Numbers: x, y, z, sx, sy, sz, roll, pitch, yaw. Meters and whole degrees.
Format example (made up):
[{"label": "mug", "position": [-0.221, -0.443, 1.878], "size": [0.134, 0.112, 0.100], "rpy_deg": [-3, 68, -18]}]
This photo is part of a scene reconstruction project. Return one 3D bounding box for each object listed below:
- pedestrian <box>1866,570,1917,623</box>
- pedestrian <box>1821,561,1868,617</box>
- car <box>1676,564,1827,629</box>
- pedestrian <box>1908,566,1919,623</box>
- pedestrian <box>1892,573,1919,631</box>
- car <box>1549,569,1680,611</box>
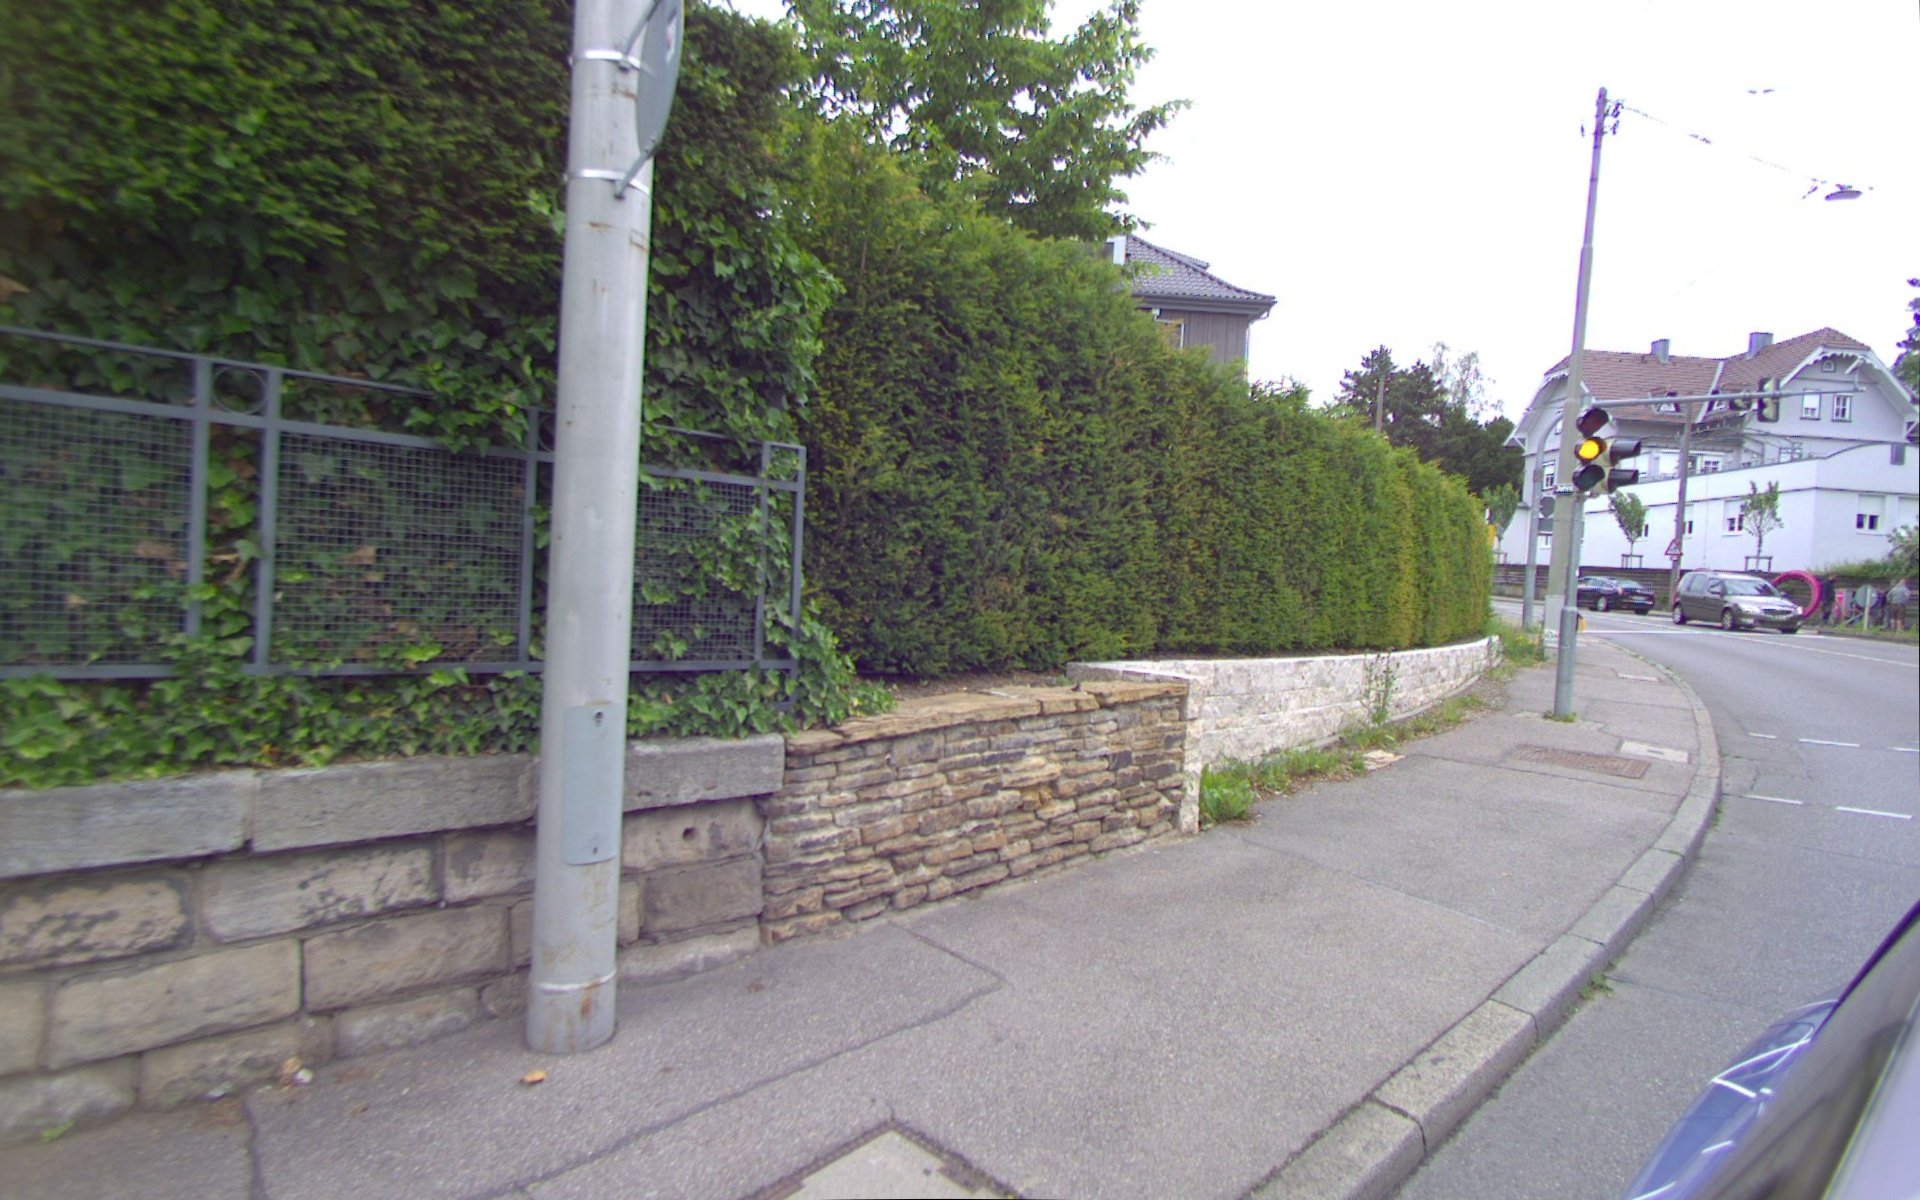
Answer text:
[{"label": "pedestrian", "position": [30.874, -0.128, 33.550], "size": [0.862, 1.673, 0.752], "rpy_deg": [2, 3, -6]}, {"label": "pedestrian", "position": [30.012, -0.387, 34.360], "size": [0.862, 1.836, 0.689], "rpy_deg": [2, 2, -6]}, {"label": "car", "position": [21.907, -0.161, 28.221], "size": [1.593, 1.599, 3.990], "rpy_deg": [1, 3, 11]}, {"label": "pedestrian", "position": [31.104, -0.173, 32.601], "size": [0.499, 1.835, 0.506], "rpy_deg": [3, 2, -6]}, {"label": "pedestrian", "position": [30.437, 0.060, 32.297], "size": [0.600, 1.809, 0.668], "rpy_deg": [2, 2, -8]}, {"label": "car", "position": [26.720, -0.468, 41.564], "size": [1.962, 1.440, 5.061], "rpy_deg": [2, 3, -1]}]
